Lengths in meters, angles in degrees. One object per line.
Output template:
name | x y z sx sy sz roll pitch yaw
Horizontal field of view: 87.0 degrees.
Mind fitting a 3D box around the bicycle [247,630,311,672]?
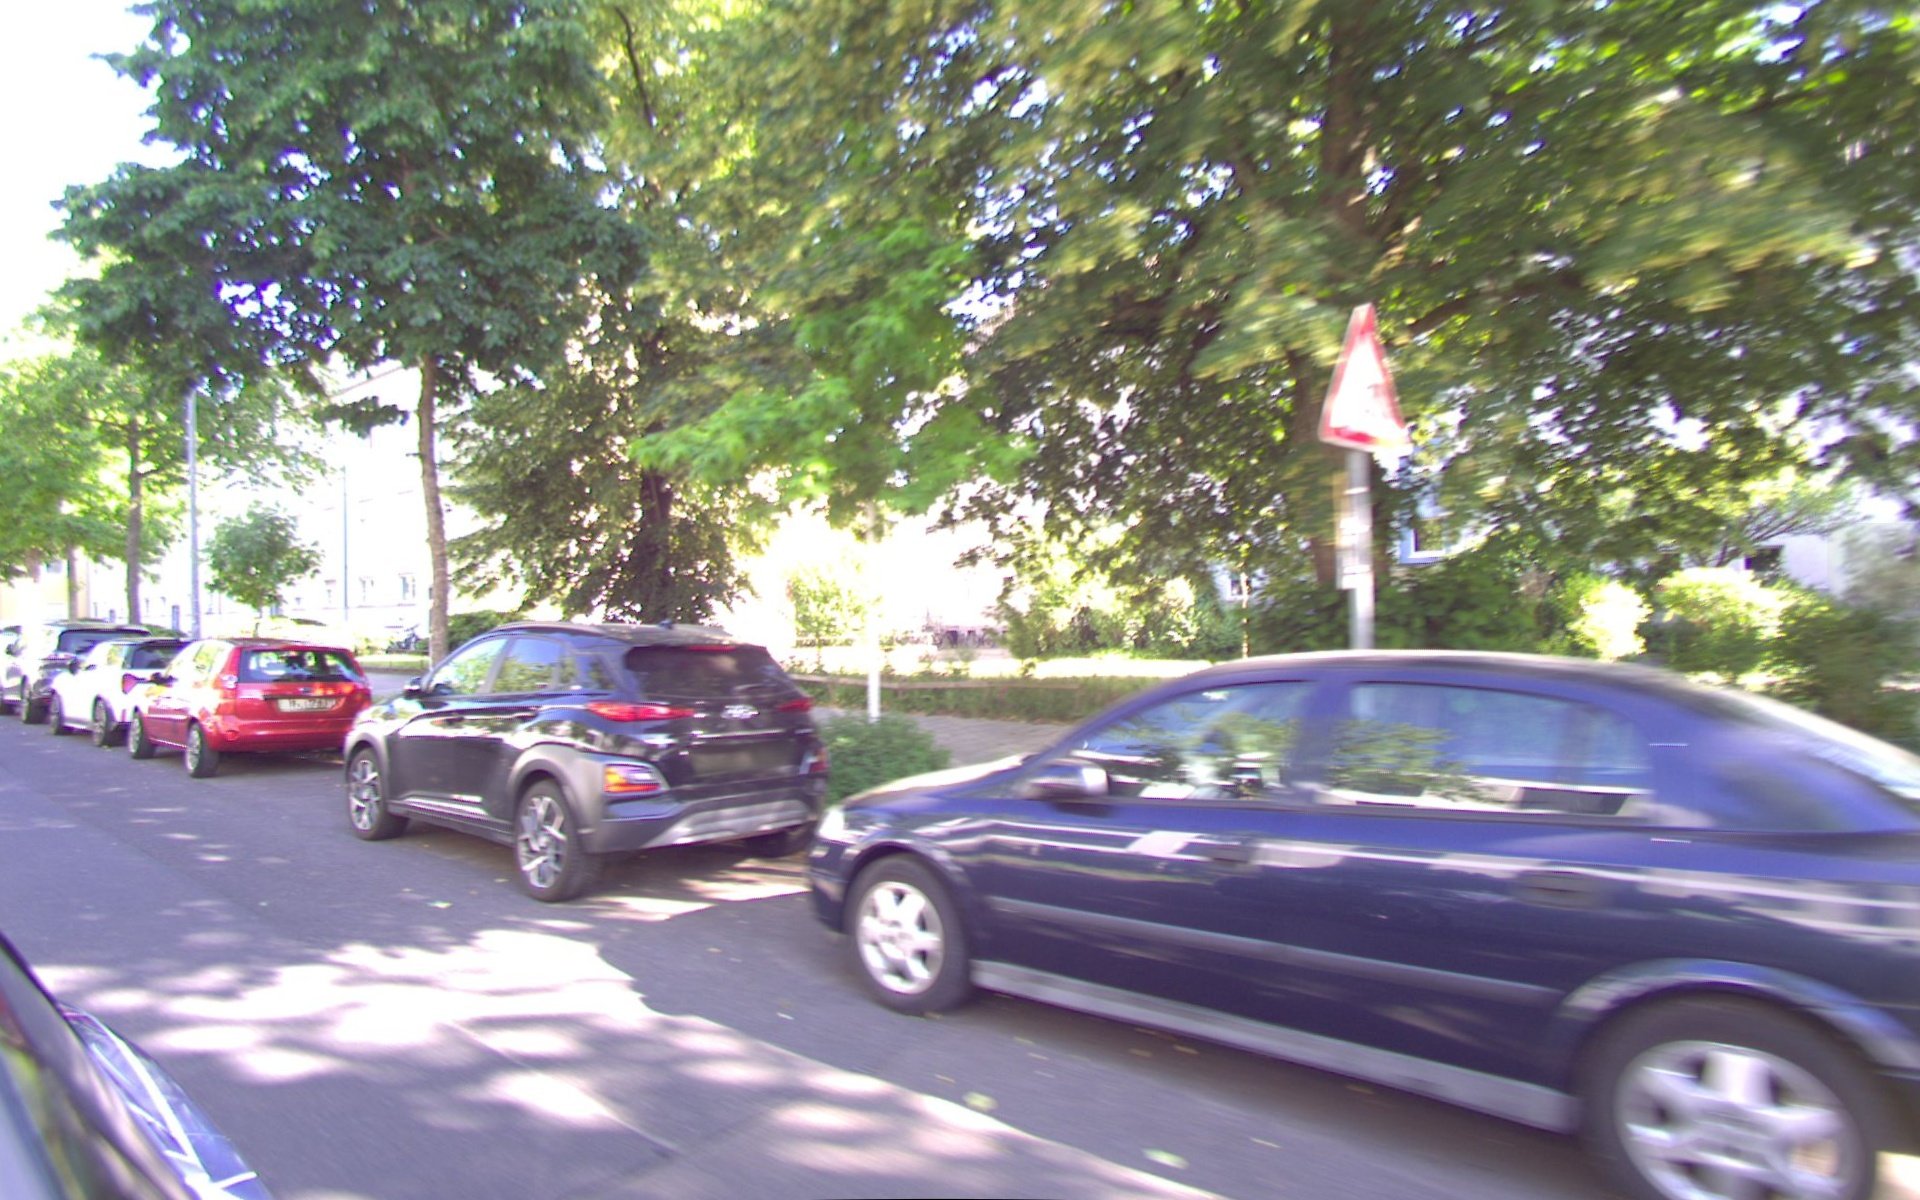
bicycle | -21.421 1.579 31.857 0.515 1.235 1.623 -2 -1 30

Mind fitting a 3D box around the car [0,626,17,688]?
car | -28.195 1.599 28.378 4.518 1.699 1.777 -2 -2 37

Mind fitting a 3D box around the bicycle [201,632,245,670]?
bicycle | -24.192 1.671 33.207 2.258 1.199 0.589 -2 -2 38

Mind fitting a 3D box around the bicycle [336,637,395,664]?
bicycle | -20.948 1.760 35.666 0.584 0.876 1.691 -2 -1 40

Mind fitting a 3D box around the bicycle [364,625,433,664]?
bicycle | -19.342 1.523 34.907 0.775 1.235 1.934 -2 -1 37

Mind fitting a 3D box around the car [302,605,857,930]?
car | -2.883 0.889 7.070 4.478 1.589 1.688 -2 -2 41

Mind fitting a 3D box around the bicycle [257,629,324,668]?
bicycle | -22.490 1.612 34.028 0.517 1.235 1.803 -2 -1 40

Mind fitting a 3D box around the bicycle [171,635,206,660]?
bicycle | -28.568 1.749 37.464 1.901 0.923 0.589 -2 -2 38

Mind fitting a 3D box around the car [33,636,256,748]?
car | -11.902 1.236 14.677 4.184 1.384 1.638 -2 -2 38

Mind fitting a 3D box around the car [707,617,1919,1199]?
car | 1.171 0.775 3.801 4.475 1.363 1.768 -2 -2 38

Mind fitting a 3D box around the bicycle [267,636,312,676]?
bicycle | -19.140 1.582 28.879 1.932 1.069 0.566 -2 -1 40

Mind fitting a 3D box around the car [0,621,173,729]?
car | -15.920 1.246 18.097 5.082 1.669 1.823 -2 -2 39

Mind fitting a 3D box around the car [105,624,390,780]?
car | -8.408 1.063 11.823 4.063 1.516 1.638 -2 -2 38

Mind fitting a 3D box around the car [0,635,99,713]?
car | -19.962 1.515 21.515 4.484 1.492 1.690 -2 -2 38

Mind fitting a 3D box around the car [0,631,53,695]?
car | -23.815 1.505 24.735 4.484 1.463 1.776 -2 -2 39
